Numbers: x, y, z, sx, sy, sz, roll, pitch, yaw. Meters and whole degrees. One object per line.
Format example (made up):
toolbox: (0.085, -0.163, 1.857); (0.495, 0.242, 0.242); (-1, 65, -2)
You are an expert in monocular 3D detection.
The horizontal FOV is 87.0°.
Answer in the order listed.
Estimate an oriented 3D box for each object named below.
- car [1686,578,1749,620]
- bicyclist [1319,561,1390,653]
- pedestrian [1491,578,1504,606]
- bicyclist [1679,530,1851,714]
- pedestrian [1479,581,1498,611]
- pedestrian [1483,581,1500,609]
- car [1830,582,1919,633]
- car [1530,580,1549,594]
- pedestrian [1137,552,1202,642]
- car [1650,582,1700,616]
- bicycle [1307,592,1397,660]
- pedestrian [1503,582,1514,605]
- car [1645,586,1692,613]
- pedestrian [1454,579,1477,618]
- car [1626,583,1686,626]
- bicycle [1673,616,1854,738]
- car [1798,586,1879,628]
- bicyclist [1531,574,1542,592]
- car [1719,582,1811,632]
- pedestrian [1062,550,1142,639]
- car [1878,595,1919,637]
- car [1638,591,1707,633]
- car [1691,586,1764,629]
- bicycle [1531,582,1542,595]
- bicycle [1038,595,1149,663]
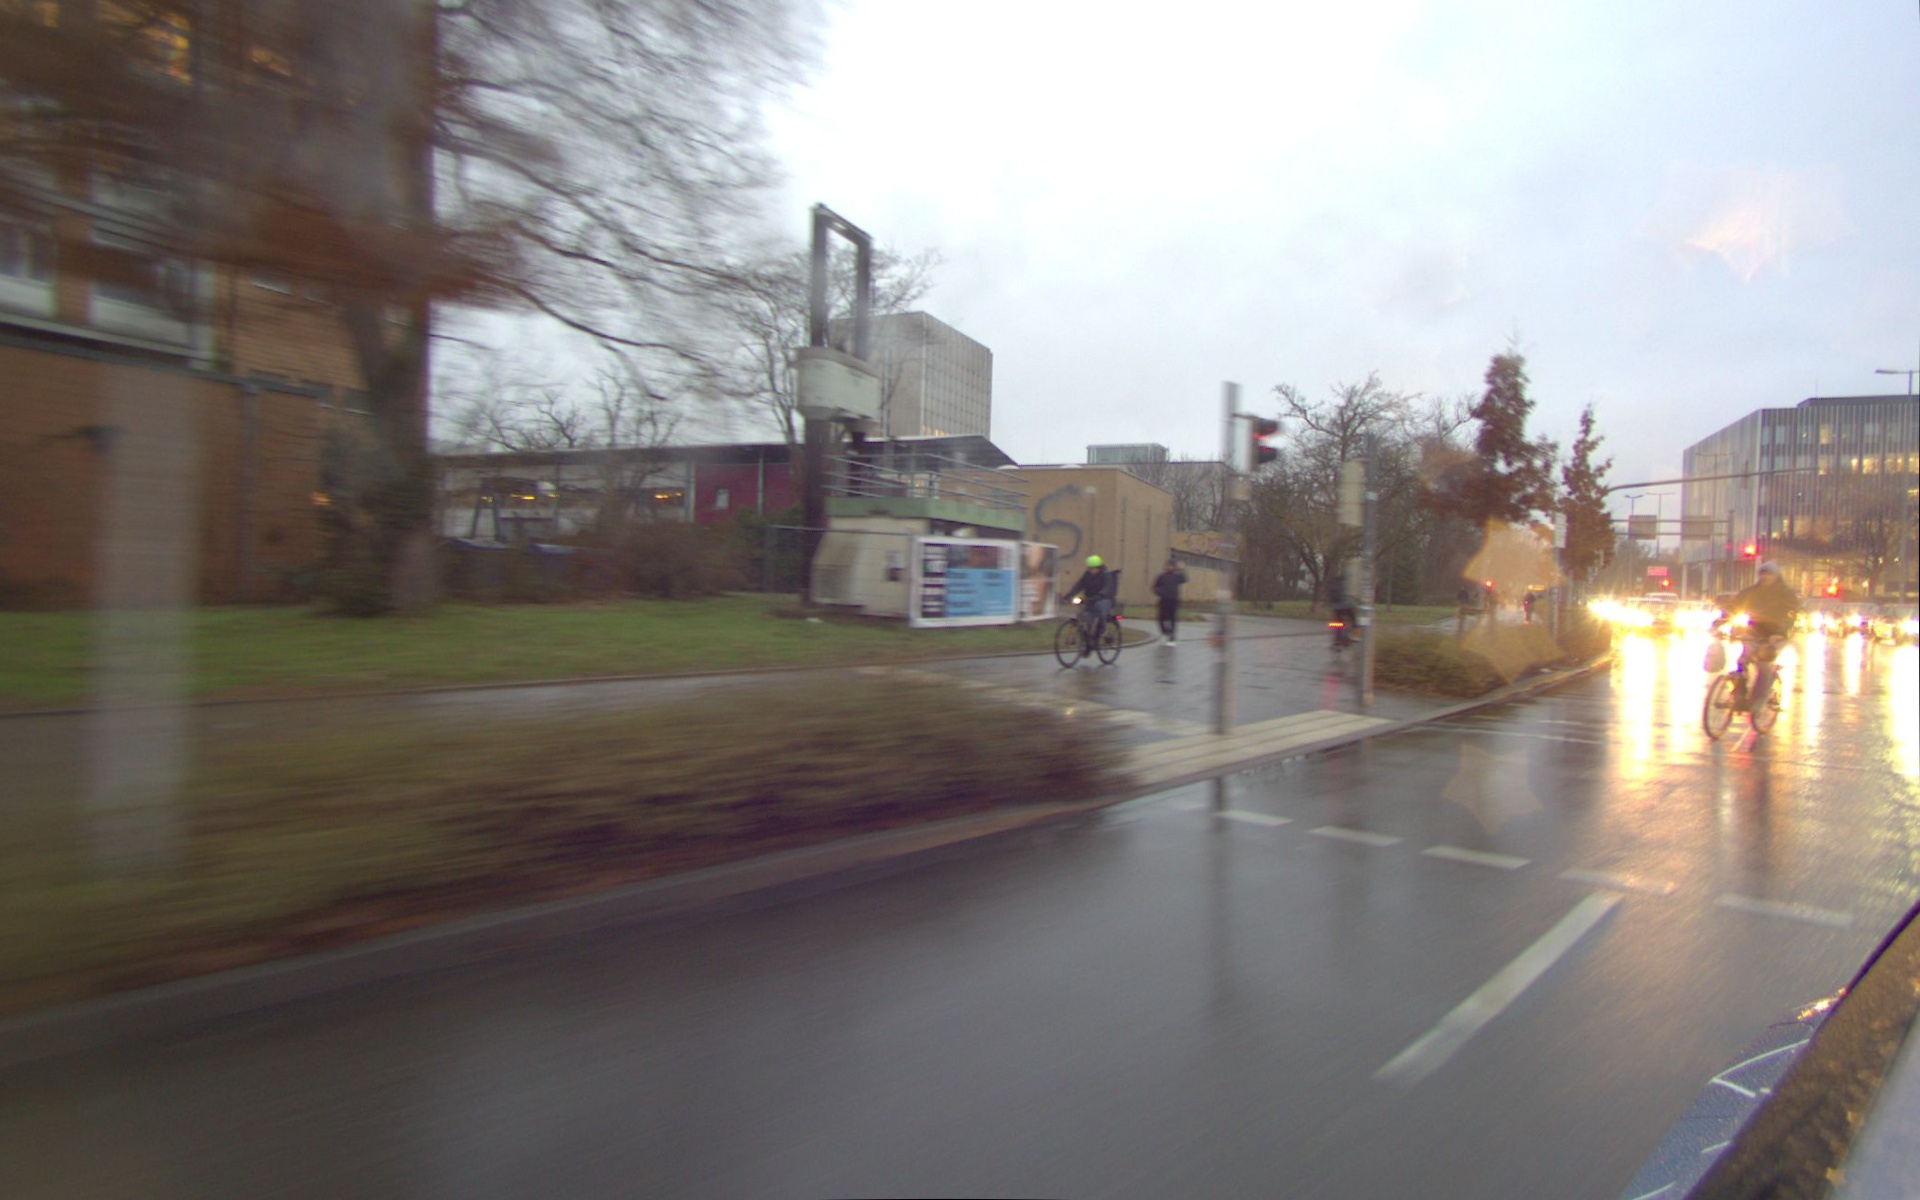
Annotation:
car: (37.319, -0.061, 49.974); (1.984, 1.927, 3.957); (2, 2, 31)
bicyclist: (7.524, 0.118, 19.293); (0.804, 1.637, 1.069); (6, 4, 42)
pedestrian: (40.176, -0.633, 75.679); (0.759, 2.038, 0.902); (2, 2, 28)
bicyclist: (8.883, 0.223, 11.189); (1.210, 1.907, 1.029); (1, 0, -24)
pedestrian: (32.806, -0.263, 62.832); (0.925, 1.848, 0.825); (3, 2, 30)
pedestrian: (36.603, -0.334, 69.670); (0.925, 1.848, 0.825); (3, 2, 30)
car: (39.526, 0.272, 43.631); (1.985, 1.769, 4.425); (10, 6, 29)
car: (80.454, -1.831, 140.611); (2.124, 1.838, 3.960); (3, 2, 29)
pedestrian: (4.195, -0.063, 20.240); (0.907, 1.708, 0.916); (4, 1, 35)
car: (43.791, -0.110, 62.057); (1.983, 1.947, 4.223); (2, 2, 29)
bicycle: (7.521, 0.467, 19.344); (0.804, 1.155, 2.179); (7, 4, 42)
pedestrian: (48.963, -0.580, 90.372); (0.759, 2.038, 0.765); (2, 2, 28)
car: (47.312, -0.054, 67.644); (1.983, 1.586, 4.713); (4, 3, 29)
pedestrian: (24.991, -0.080, 50.004); (0.925, 1.848, 0.825); (3, 2, 30)
car: (32.520, 0.169, 47.359); (1.984, 1.860, 3.956); (2, 2, 31)
bicycle: (8.909, 0.813, 11.217); (1.864, 1.238, 0.796); (0, 0, -24)
car: (42.412, 0.297, 48.980); (1.983, 1.771, 4.425); (4, 3, 29)
bicyclist: (49.269, -1.485, 86.481); (0.761, 1.508, 0.984); (2, 2, 30)
car: (31.806, 0.223, 40.141); (1.983, 1.771, 4.895); (3, 2, 29)
pedestrian: (2.220, -0.101, 15.837); (0.875, 1.333, 0.835); (3, 2, 44)
car: (35.466, 0.600, 36.918); (1.915, 1.393, 4.453); (3, 2, 29)
car: (28.957, 0.453, 41.233); (1.759, 1.505, 4.425); (3, 2, 29)
car: (34.731, 0.292, 45.911); (1.983, 1.771, 4.425); (3, 2, 29)
bicycle: (49.246, -1.013, 86.451); (0.788, 1.028, 2.873); (3, 2, 30)
bicycle: (2.110, 0.419, 15.795); (2.061, 0.958, 0.562); (-1, 3, -45)
